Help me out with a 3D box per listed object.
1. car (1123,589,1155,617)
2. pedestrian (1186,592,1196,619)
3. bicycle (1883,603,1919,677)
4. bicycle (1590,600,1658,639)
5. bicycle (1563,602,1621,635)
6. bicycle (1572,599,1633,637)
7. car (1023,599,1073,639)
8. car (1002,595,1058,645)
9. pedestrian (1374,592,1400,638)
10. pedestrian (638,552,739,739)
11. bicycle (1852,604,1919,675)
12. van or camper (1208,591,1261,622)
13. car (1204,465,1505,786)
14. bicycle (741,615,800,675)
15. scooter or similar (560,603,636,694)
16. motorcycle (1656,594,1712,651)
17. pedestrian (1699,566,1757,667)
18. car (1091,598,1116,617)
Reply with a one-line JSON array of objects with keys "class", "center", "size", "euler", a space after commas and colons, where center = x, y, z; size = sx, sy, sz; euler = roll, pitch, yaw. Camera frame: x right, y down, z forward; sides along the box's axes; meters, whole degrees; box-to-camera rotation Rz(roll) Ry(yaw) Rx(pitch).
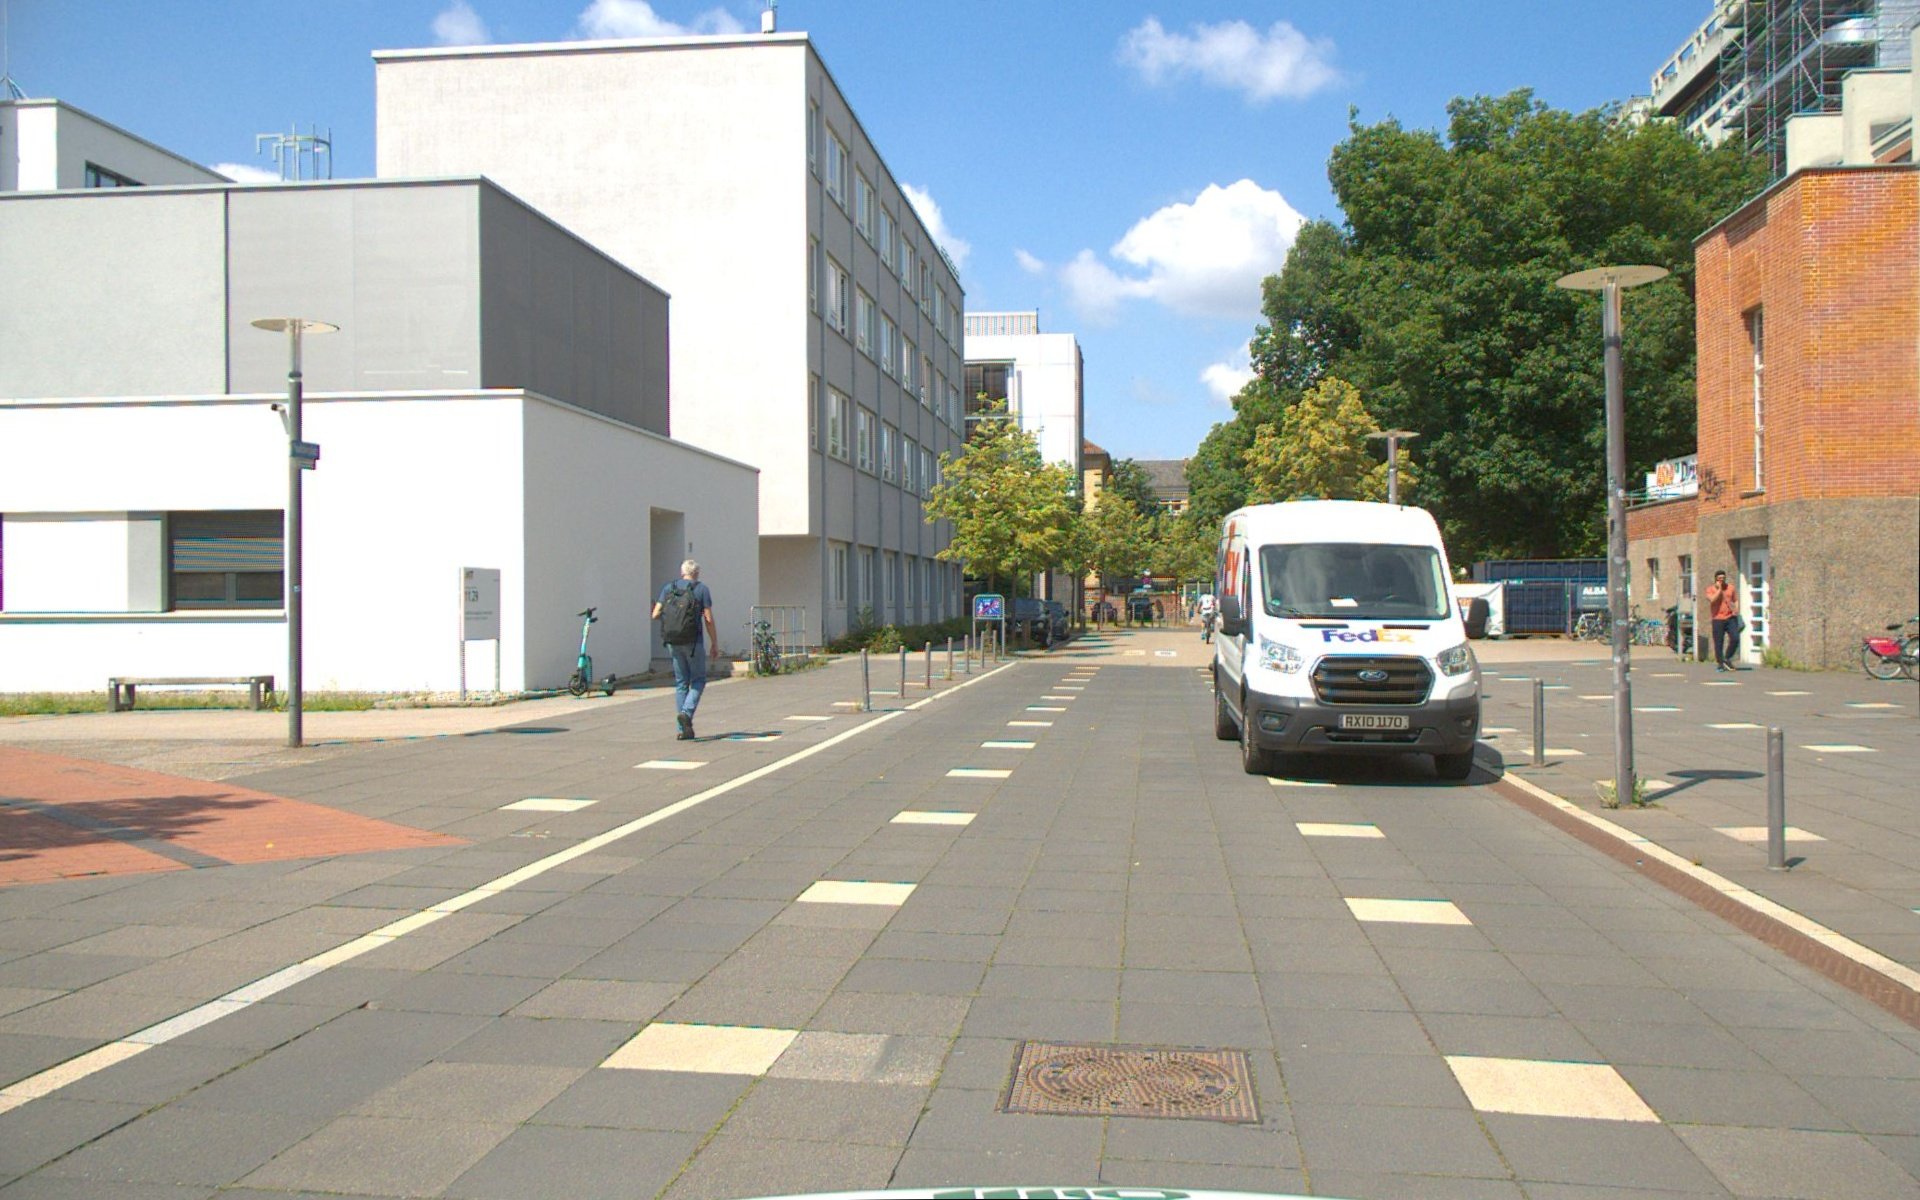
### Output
[{"class": "car", "center": [12.817, 0.194, 118.442], "size": [2.129, 1.959, 5.189], "euler": [0, 0, 5]}, {"class": "pedestrian", "center": [15.448, 0.373, 110.663], "size": [0.571, 1.795, 0.912], "euler": [0, 0, 12]}, {"class": "bicycle", "center": [15.824, 0.635, 26.520], "size": [1.716, 1.170, 0.518], "euler": [-1, 0, 5]}, {"class": "bicycle", "center": [19.389, 0.575, 48.311], "size": [1.767, 1.129, 0.448], "euler": [0, 0, 7]}, {"class": "bicycle", "center": [20.118, 0.583, 52.671], "size": [1.636, 1.021, 0.448], "euler": [0, 0, 7]}, {"class": "bicycle", "center": [19.555, 0.549, 50.366], "size": [1.665, 1.129, 0.448], "euler": [0, 0, 7]}, {"class": "car", "center": [3.419, 0.704, 63.394], "size": [1.740, 1.486, 4.261], "euler": [1, 0, 5]}, {"class": "car", "center": [2.365, 0.653, 55.285], "size": [1.661, 1.591, 4.070], "euler": [0, 0, 5]}, {"class": "pedestrian", "center": [12.919, 0.451, 50.021], "size": [0.681, 1.354, 0.716], "euler": [-1, 0, 9]}, {"class": "pedestrian", "center": [-2.774, 0.453, 16.990], "size": [0.806, 1.849, 1.144], "euler": [0, 0, 2]}, {"class": "bicycle", "center": [15.835, 0.649, 27.497], "size": [1.716, 1.170, 0.436], "euler": [-1, 0, 5]}, {"class": "van or camper", "center": [18.186, 0.424, 109.470], "size": [1.915, 1.957, 5.414], "euler": [1, 0, 27]}, {"class": "car", "center": [3.624, 0.208, 16.344], "size": [2.015, 2.588, 5.853], "euler": [-1, 0, 5]}, {"class": "bicycle", "center": [-3.552, 0.832, 31.114], "size": [0.531, 1.080, 1.901], "euler": [0, 0, 12]}, {"class": "scooter or similar", "center": [-5.233, 0.681, 23.982], "size": [0.472, 1.285, 1.314], "euler": [0, 0, 19]}, {"class": "motorcycle", "center": [17.490, 0.534, 40.010], "size": [0.681, 1.346, 2.222], "euler": [0, 0, 9]}, {"class": "pedestrian", "center": [14.481, 0.307, 31.201], "size": [0.649, 1.866, 0.906], "euler": [0, 0, -1]}, {"class": "car", "center": [10.305, 0.518, 118.706], "size": [1.779, 1.347, 3.770], "euler": [0, 0, 6]}]
